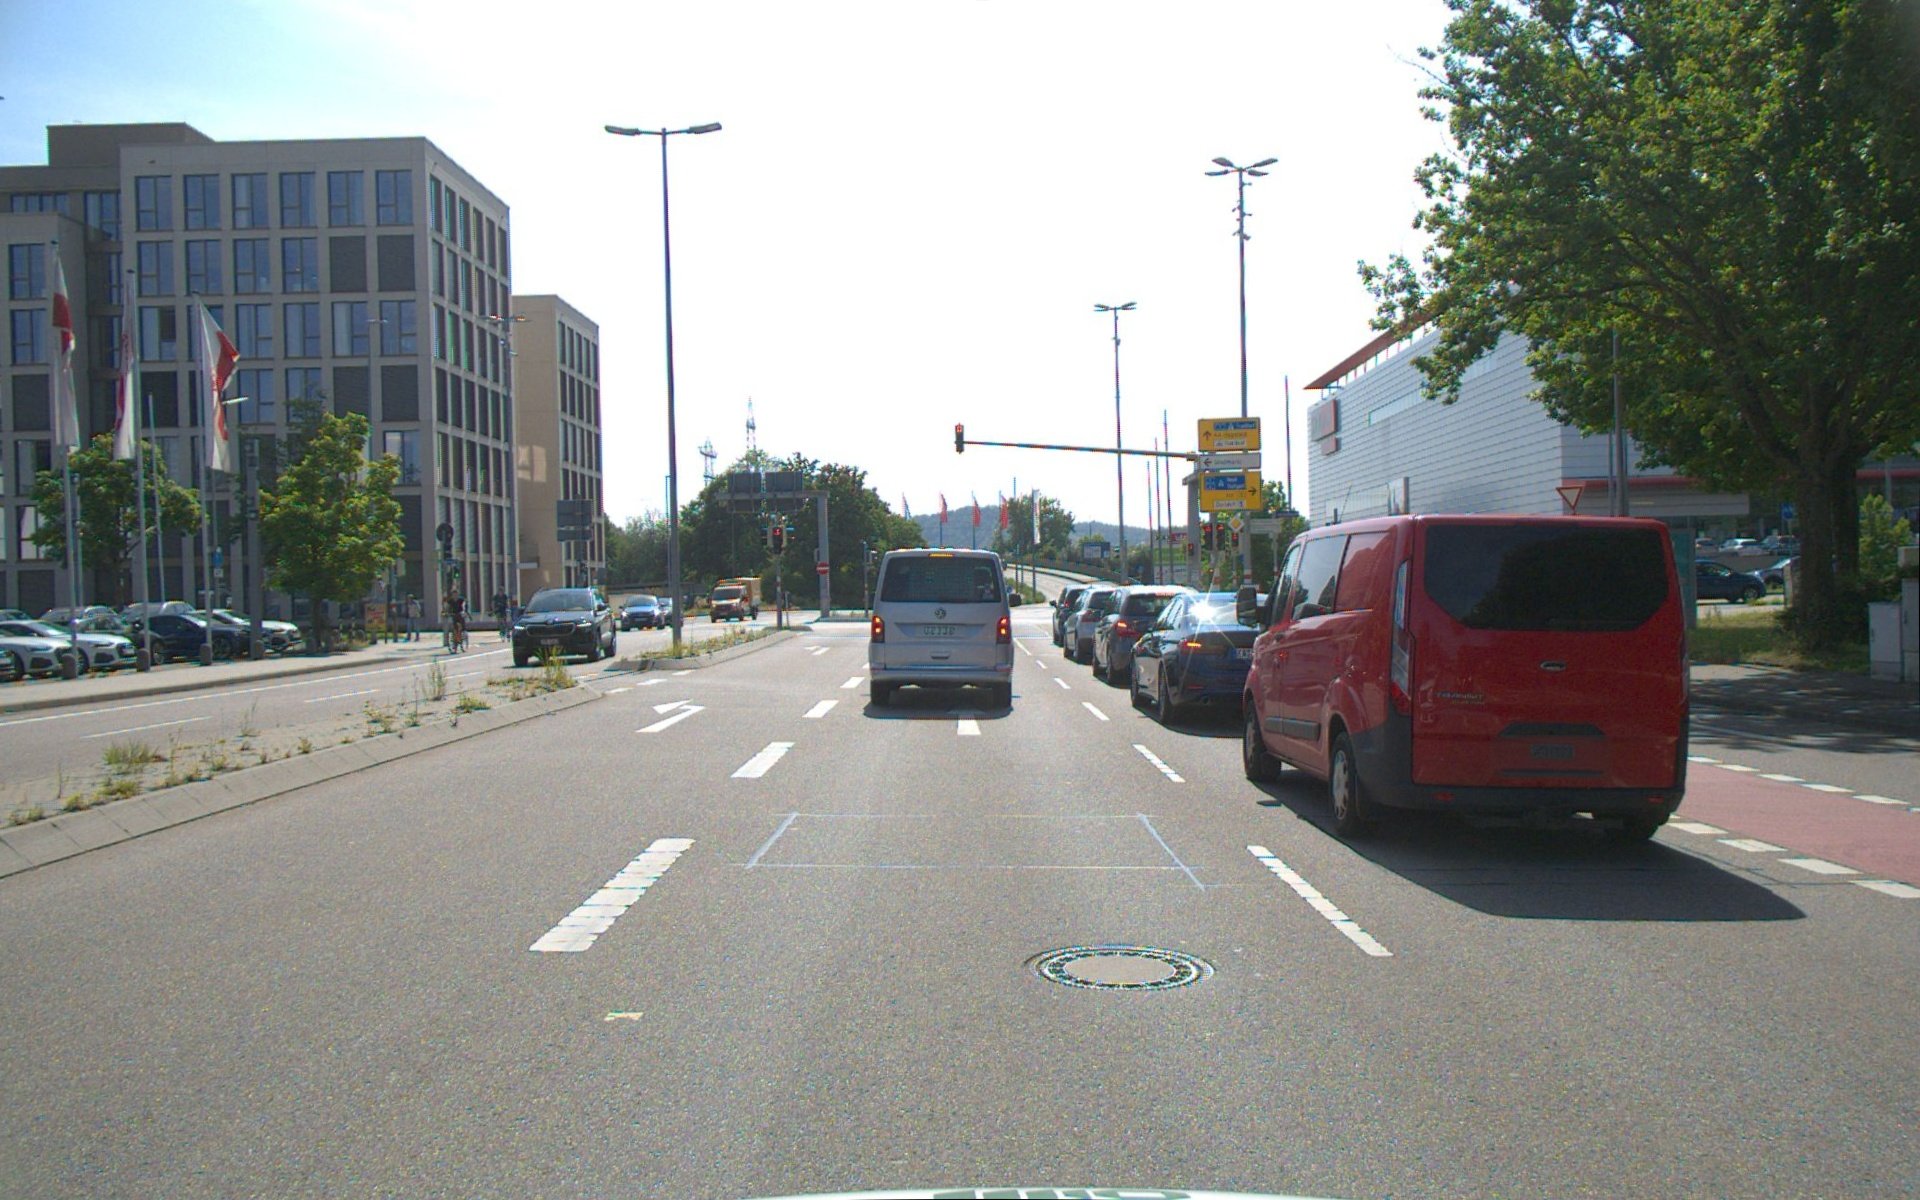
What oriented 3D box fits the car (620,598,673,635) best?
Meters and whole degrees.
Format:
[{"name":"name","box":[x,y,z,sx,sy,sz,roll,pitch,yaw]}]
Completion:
[{"name":"car","box":[-13.414,0.693,70.972,1.648,1.381,3.839,-2,2,-3]}]

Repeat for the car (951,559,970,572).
[{"name":"car","box":[0.072,-5.323,255.356,1.961,2.049,3.984,0,0,-15]}]

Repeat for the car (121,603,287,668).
[{"name":"car","box":[-21.727,1.002,47.627,3.795,1.490,1.868,-5,1,1]}]

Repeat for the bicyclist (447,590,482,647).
[{"name":"bicyclist","box":[-13.947,0.500,46.542,0.606,1.553,1.036,-2,0,1]}]

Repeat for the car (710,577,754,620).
[{"name":"car","box":[-14.431,-0.126,105.035,2.358,2.605,6.889,-2,0,-5]}]

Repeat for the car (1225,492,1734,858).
[{"name":"car","box":[3.258,0.386,11.610,1.927,2.002,5.125,0,0,-1]}]

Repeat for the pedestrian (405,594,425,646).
[{"name":"pedestrian","box":[-21.666,0.790,65.728,0.546,2.049,0.576,0,0,5]}]

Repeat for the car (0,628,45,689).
[{"name":"car","box":[-21.648,1.383,34.678,3.794,1.186,1.912,-5,1,3]}]

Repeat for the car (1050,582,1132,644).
[{"name":"car","box":[3.401,0.305,43.549,1.798,1.552,4.000,0,0,0]}]

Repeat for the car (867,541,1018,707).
[{"name":"car","box":[-0.222,0.275,22.242,1.846,2.025,4.000,0,0,0]}]

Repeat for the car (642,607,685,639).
[{"name":"car","box":[-14.830,1.132,82.864,1.545,1.434,4.377,-2,0,-3]}]

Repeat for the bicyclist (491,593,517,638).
[{"name":"bicyclist","box":[-15.785,0.542,57.319,0.617,1.527,1.028,0,0,-1]}]

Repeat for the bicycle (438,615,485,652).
[{"name":"bicycle","box":[-13.938,0.937,46.298,0.666,0.957,1.973,-2,0,1]}]

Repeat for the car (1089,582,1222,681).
[{"name":"car","box":[3.208,0.470,27.802,1.711,1.543,4.077,0,0,-1]}]

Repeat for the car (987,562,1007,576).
[{"name":"car","box":[5.368,-4.479,239.920,1.961,2.049,3.984,0,0,-15]}]

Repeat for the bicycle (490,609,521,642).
[{"name":"bicycle","box":[-15.738,0.872,57.320,0.573,1.069,1.876,0,0,-1]}]

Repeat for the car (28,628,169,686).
[{"name":"car","box":[-22.583,1.458,43.493,1.819,1.194,3.430,-5,1,0]}]

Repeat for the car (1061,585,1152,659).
[{"name":"car","box":[3.046,0.420,34.903,1.546,1.483,3.785,0,0,-1]}]

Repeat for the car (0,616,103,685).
[{"name":"car","box":[-21.768,1.226,37.333,3.794,1.356,1.849,-5,1,3]}]

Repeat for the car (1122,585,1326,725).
[{"name":"car","box":[3.043,0.569,19.947,1.711,1.484,4.475,0,0,-1]}]

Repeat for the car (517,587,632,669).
[{"name":"car","box":[-8.687,0.588,37.586,1.704,1.646,4.207,-4,0,-3]}]

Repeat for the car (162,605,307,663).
[{"name":"car","box":[-21.806,1.008,49.786,3.521,1.381,1.640,-5,1,0]}]

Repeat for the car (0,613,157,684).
[{"name":"car","box":[-21.776,1.195,39.949,3.794,1.388,1.750,-5,1,3]}]

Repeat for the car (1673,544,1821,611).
[{"name":"car","box":[27.387,-0.779,57.624,4.311,2.029,1.481,-4,0,2]}]
